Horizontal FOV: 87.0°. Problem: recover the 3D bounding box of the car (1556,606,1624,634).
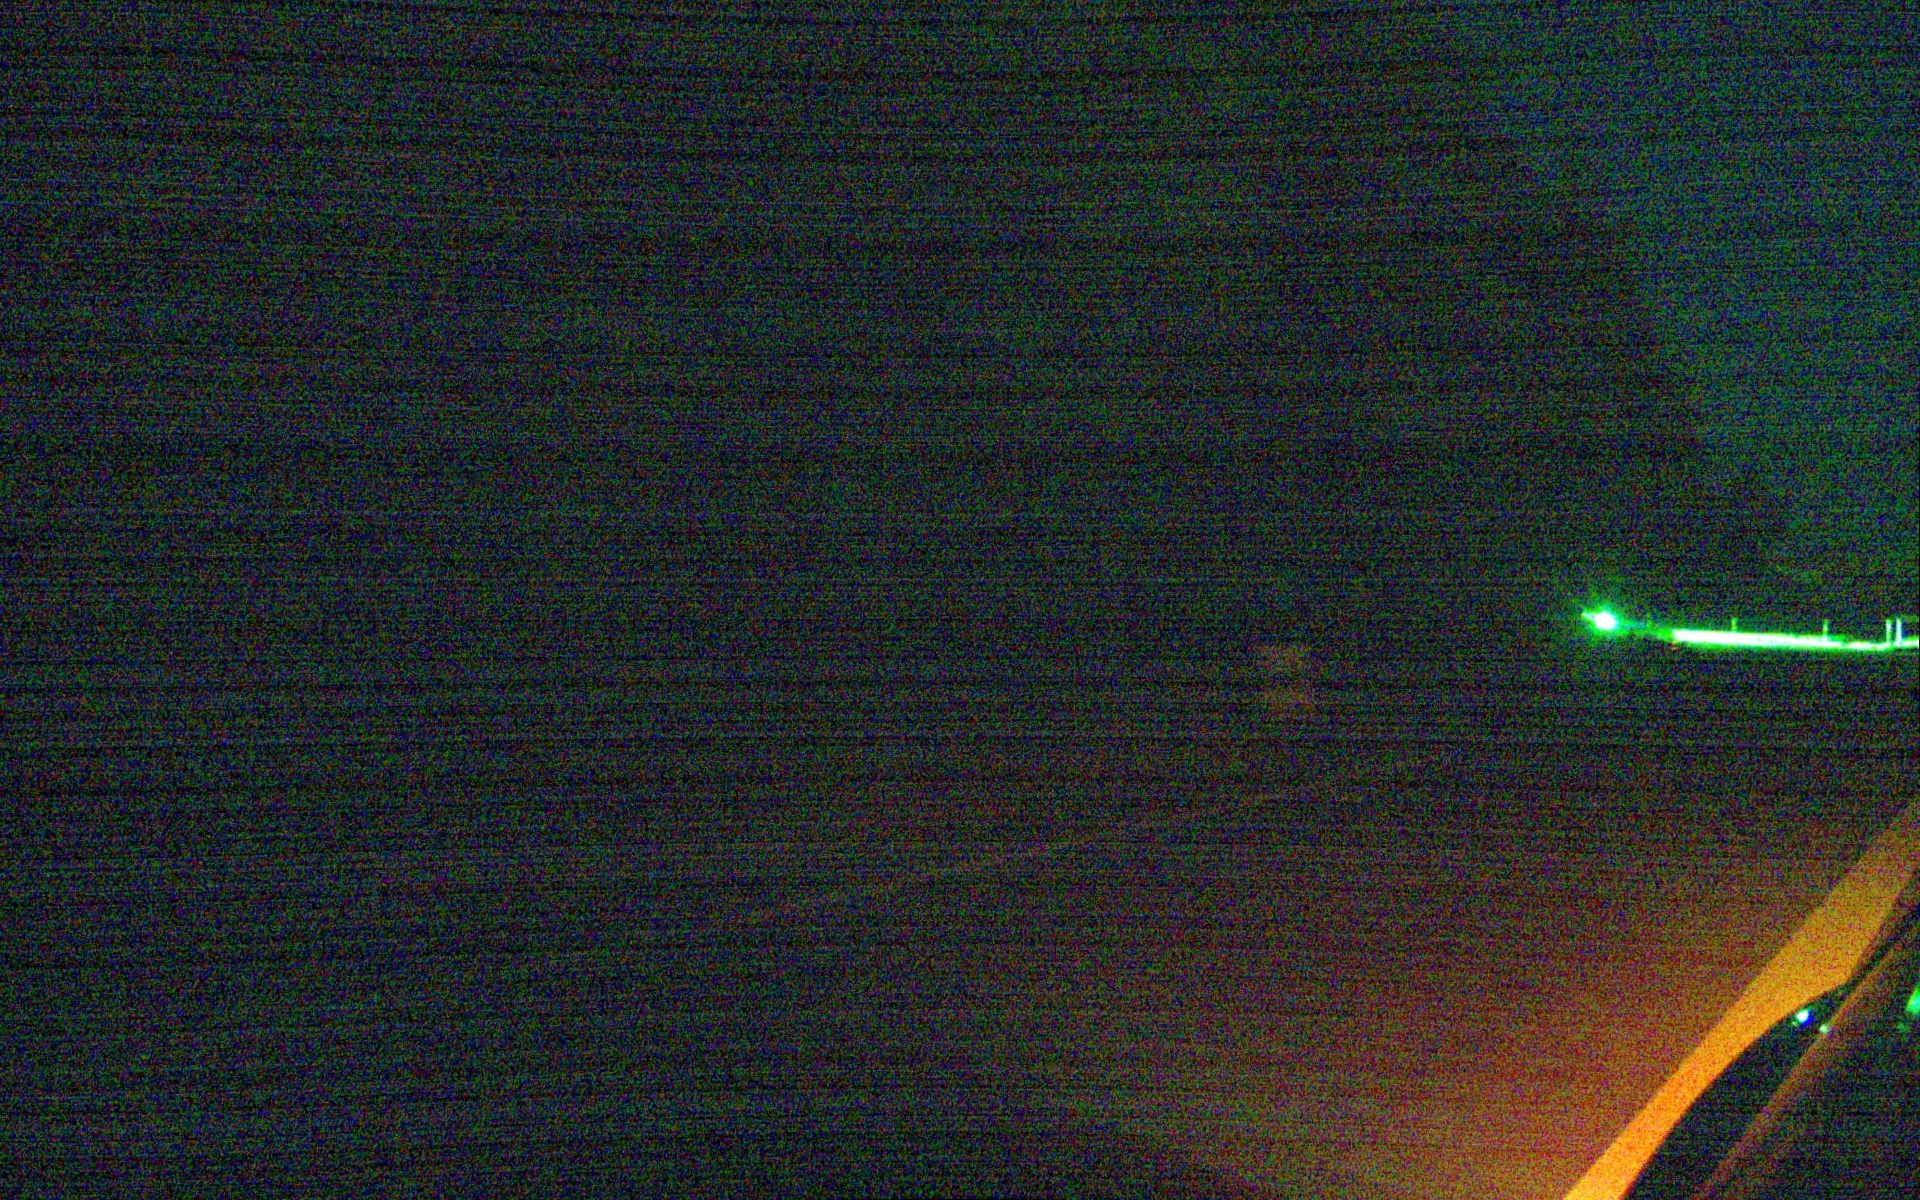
[{"bbox_3d":[44.883,1.469,72.204,1.960,1.878,4.001,-2,-2,-4],"label":"car"}]
